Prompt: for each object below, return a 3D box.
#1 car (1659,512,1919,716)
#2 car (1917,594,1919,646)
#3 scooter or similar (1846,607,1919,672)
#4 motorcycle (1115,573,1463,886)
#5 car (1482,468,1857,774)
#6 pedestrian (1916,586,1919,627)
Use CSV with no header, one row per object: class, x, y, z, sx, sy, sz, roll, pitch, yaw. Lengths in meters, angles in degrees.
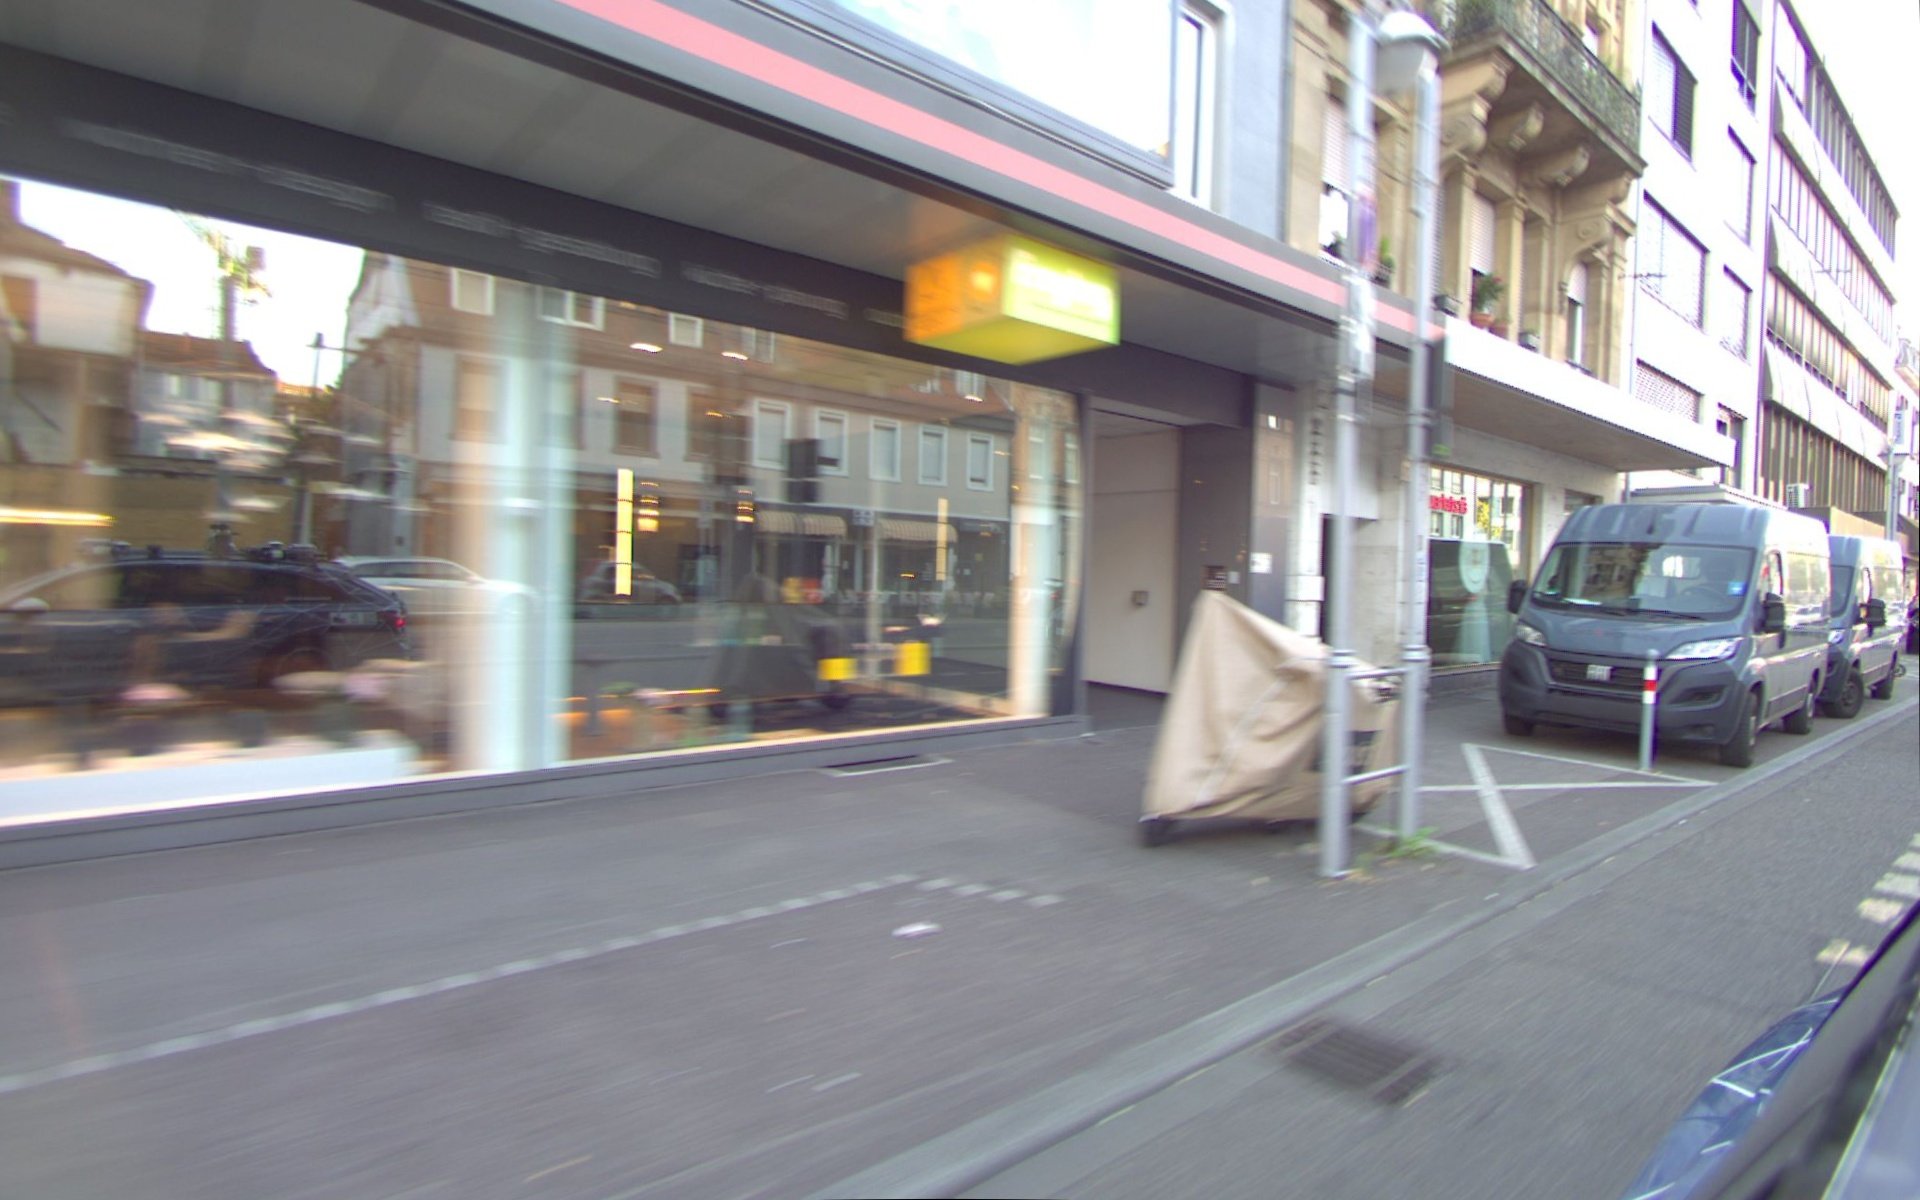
car,12.584,0.116,15.078,5.927,2.485,2.097,0,3,-41
car,29.574,0.462,29.444,4.485,1.748,1.998,0,2,-41
scooter or similar,18.287,0.769,19.916,1.240,1.235,0.500,1,1,-3
motorcycle,1.942,0.602,5.786,2.127,1.436,0.846,0,4,-41
car,7.714,0.110,10.746,5.317,2.485,2.037,0,3,-42
pedestrian,41.707,0.302,43.555,0.666,1.739,0.651,0,3,-40
